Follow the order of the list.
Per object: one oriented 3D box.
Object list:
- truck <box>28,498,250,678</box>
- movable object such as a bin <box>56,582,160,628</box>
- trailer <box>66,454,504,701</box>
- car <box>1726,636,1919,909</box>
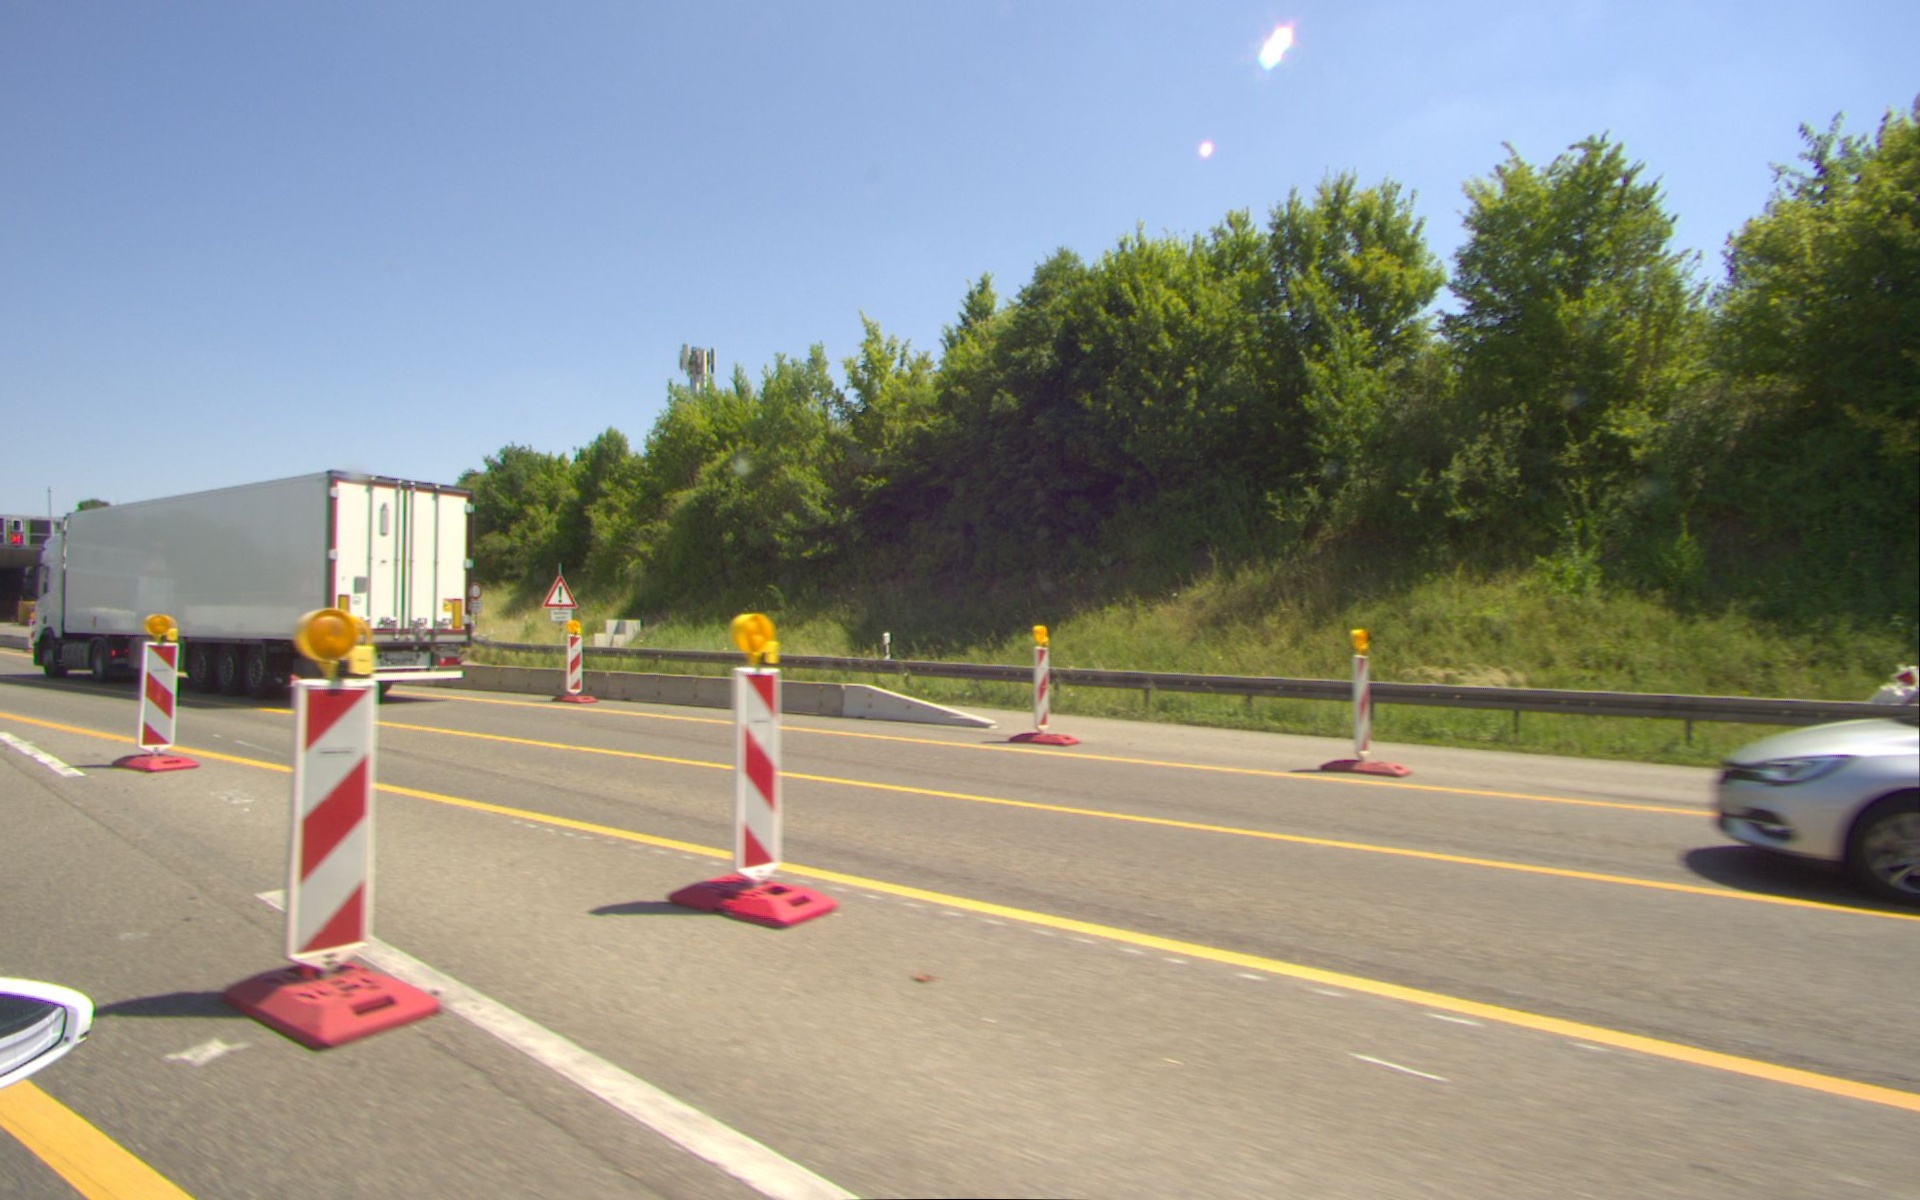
[{"bbox_3d":[-20.921,-0.209,25.460,5.843,4.085,2.739,0,-1,33],"label":"truck"},{"bbox_3d":[-62.829,0.361,73.650,14.520,3.051,3.097,0,1,39],"label":"movable object such as a bin"},{"bbox_3d":[-15.182,-0.275,21.653,13.898,4.114,2.727,-1,-1,34],"label":"trailer"},{"bbox_3d":[7.009,0.965,5.346,4.593,1.483,1.809,-1,-2,37],"label":"car"}]
